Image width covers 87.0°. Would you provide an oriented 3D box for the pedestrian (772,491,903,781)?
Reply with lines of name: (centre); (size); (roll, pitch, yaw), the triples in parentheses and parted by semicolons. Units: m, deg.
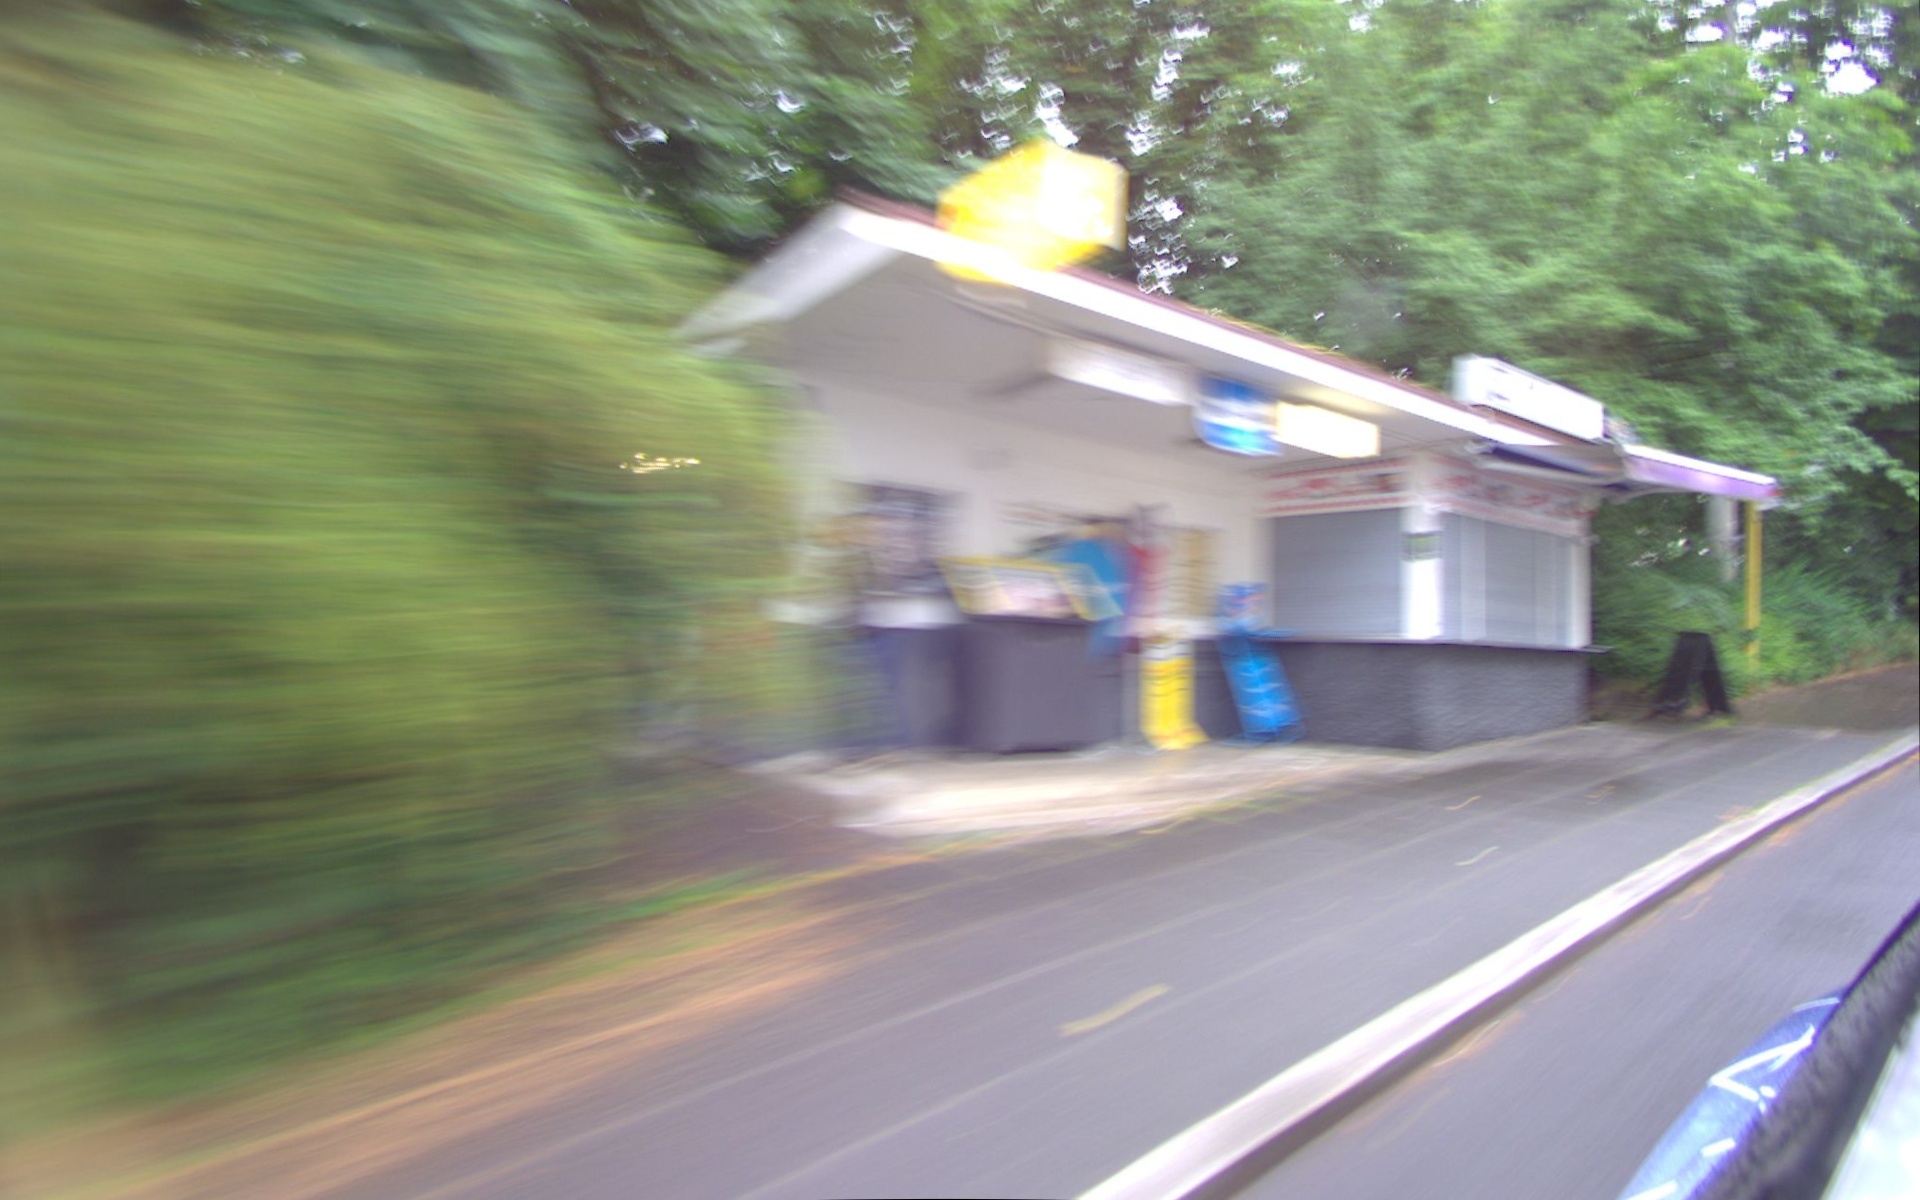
pedestrian: (-0.800, 0.220, 6.592); (0.603, 1.768, 0.604); (0, -1, -38)
